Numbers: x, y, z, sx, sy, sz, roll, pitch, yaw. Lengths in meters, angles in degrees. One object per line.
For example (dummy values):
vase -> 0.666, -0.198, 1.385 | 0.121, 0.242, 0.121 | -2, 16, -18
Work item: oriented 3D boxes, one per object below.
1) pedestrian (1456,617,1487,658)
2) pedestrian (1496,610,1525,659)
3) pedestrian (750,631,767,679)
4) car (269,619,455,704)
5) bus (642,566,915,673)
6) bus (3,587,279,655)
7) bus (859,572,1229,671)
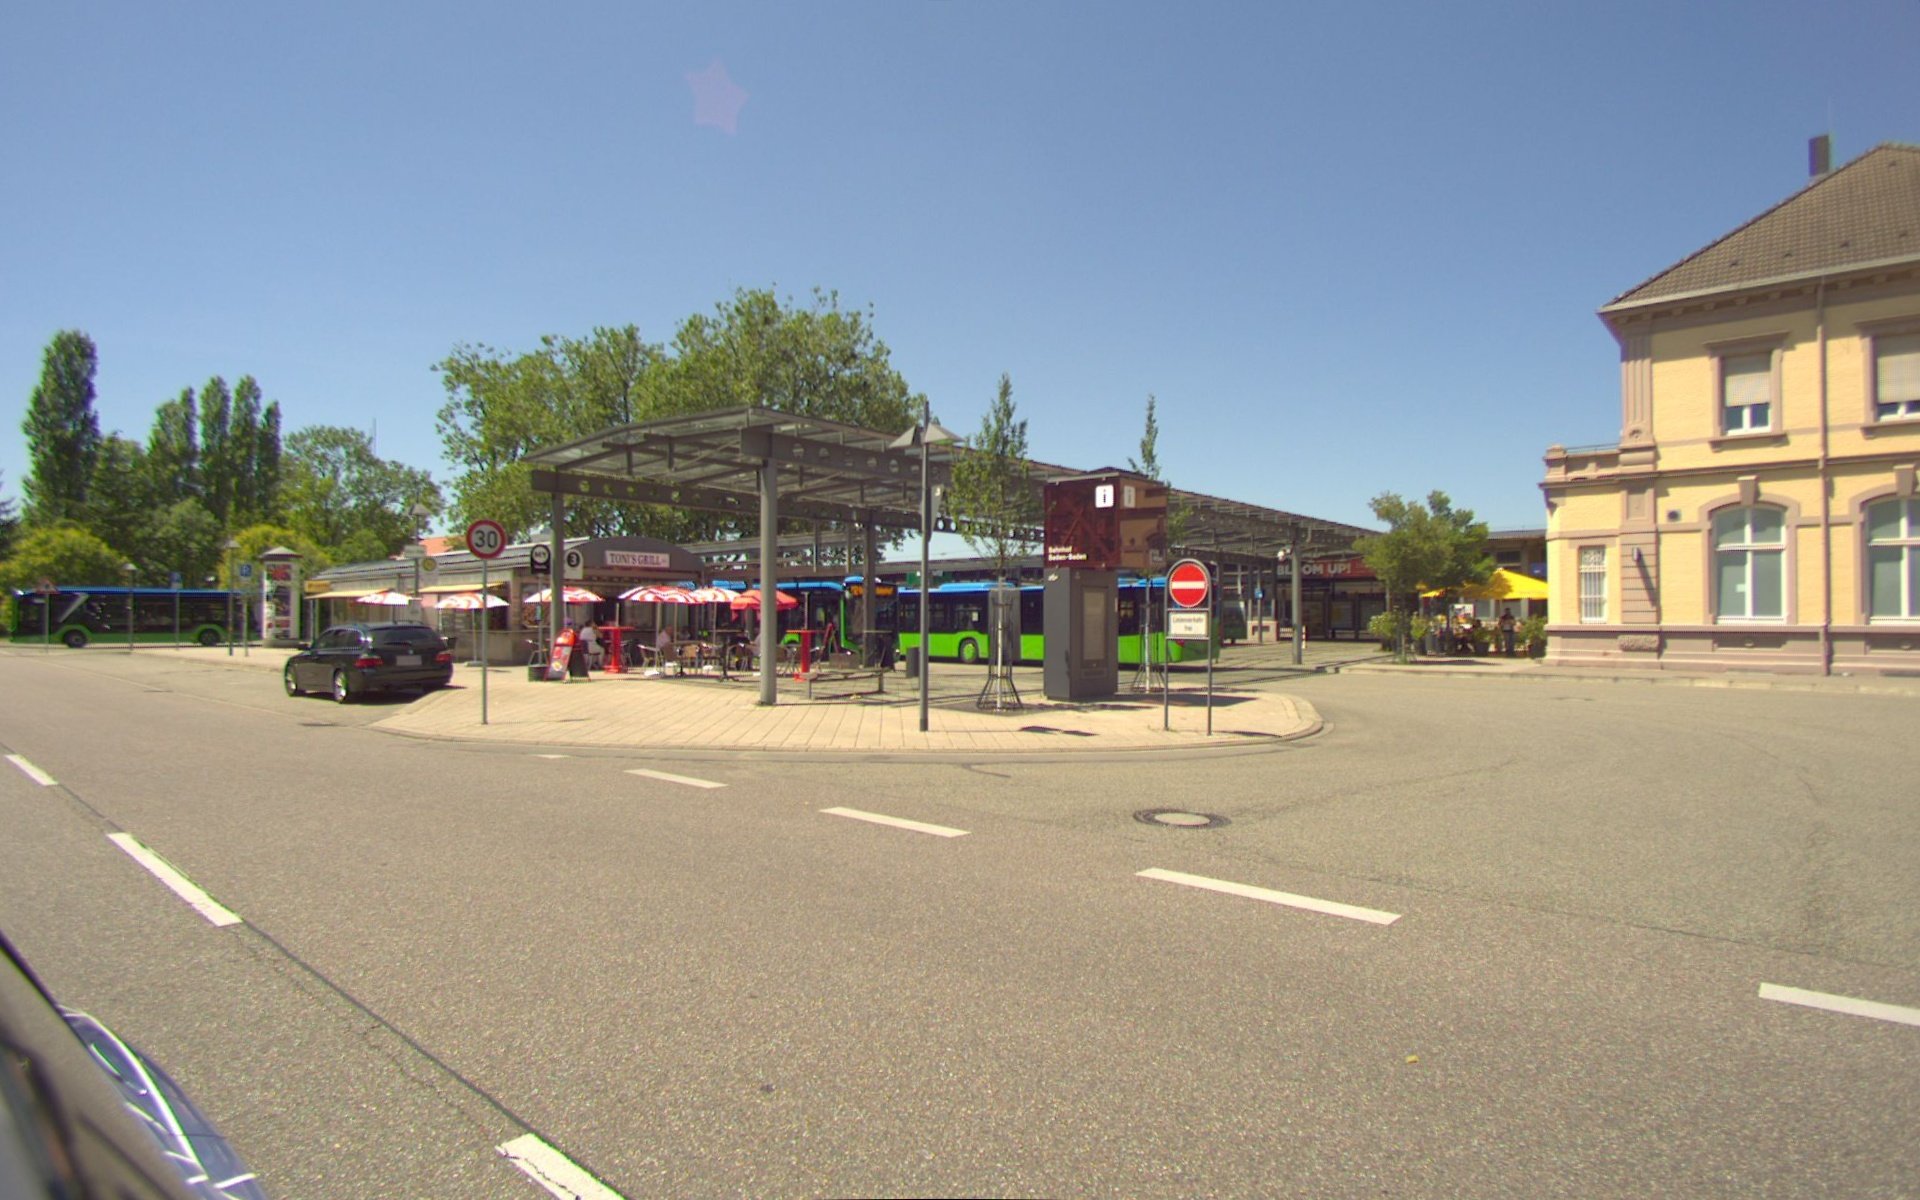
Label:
pedestrian -> 18.998, 1.392, 37.594 | 0.957, 1.488, 0.890 | -1, -2, 32
pedestrian -> 19.341, 1.205, 35.544 | 0.777, 1.698, 0.659 | -3, -3, 34
pedestrian -> -4.921, 1.341, 24.727 | 0.365, 1.131, 0.427 | 1, -1, -15
car -> -11.984, 1.141, 20.149 | 4.782, 1.490, 1.701 | -1, -2, 40
bus -> -6.826, 0.752, 36.018 | 11.844, 3.258, 2.933 | -2, -2, 42
bus -> -45.986, 1.140, 57.520 | 12.020, 3.553, 2.174 | 0, -1, -36
bus -> 2.340, 0.856, 37.819 | 15.520, 3.060, 2.835 | -2, -2, 44
